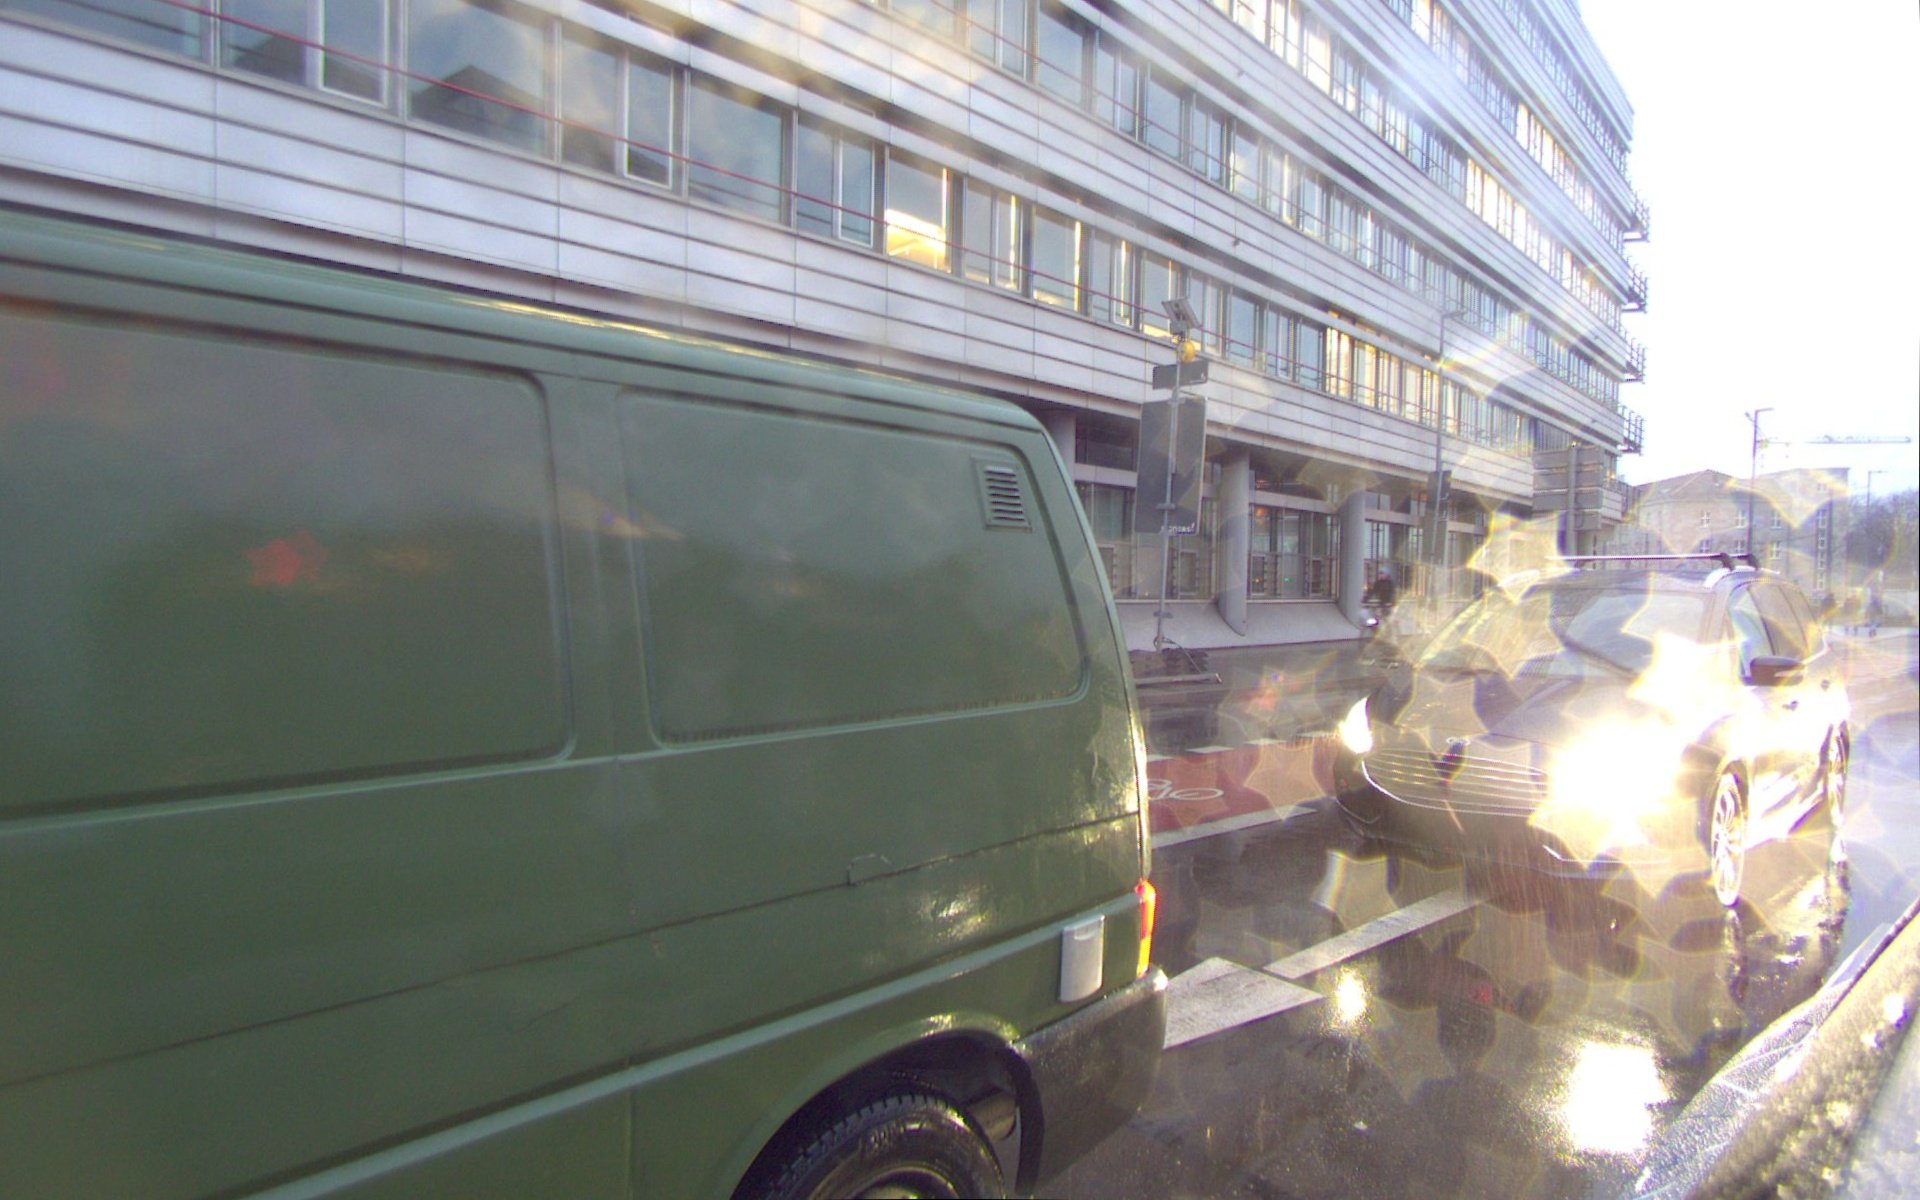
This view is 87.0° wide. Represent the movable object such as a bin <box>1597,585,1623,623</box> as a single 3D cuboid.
[{"bbox_3d":[25.495,0.162,39.722,0.826,1.446,0.665,0,1,-44],"label":"movable object such as a bin"}]

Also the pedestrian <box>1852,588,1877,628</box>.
[{"bbox_3d":[39.621,0.339,44.329,0.870,1.723,0.650,0,3,-44],"label":"pedestrian"}]

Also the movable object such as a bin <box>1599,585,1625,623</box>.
[{"bbox_3d":[26.070,0.160,40.456,0.826,1.495,0.665,0,1,-44],"label":"movable object such as a bin"}]

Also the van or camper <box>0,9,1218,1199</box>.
[{"bbox_3d":[-1.682,0.447,1.301,4.341,1.931,1.760,0,0,-41],"label":"van or camper"}]

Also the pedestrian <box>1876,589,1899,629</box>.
[{"bbox_3d":[40.203,0.376,43.870,0.870,1.689,0.615,0,3,-44],"label":"pedestrian"}]

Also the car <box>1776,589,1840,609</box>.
[{"bbox_3d":[72.885,-0.122,87.026,1.743,1.556,3.775,1,1,-24],"label":"car"}]

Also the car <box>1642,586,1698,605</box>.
[{"bbox_3d":[68.617,-0.462,97.835,1.958,1.693,4.013,0,1,-24],"label":"car"}]

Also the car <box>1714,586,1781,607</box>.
[{"bbox_3d":[71.071,-0.315,91.399,1.958,1.782,4.386,0,1,-24],"label":"car"}]

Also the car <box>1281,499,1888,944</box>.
[{"bbox_3d":[4.149,0.492,6.372,4.587,1.834,1.887,0,0,-39],"label":"car"}]

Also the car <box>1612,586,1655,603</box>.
[{"bbox_3d":[76.922,-0.688,115.570,1.757,1.829,3.741,1,1,-23],"label":"car"}]

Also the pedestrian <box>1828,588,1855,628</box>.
[{"bbox_3d":[39.441,0.338,45.287,0.953,1.722,0.746,0,4,-44],"label":"pedestrian"}]

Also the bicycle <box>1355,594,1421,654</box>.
[{"bbox_3d":[9.294,0.494,21.962,1.732,1.213,0.680,0,3,-45],"label":"bicycle"}]

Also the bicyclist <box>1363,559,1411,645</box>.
[{"bbox_3d":[9.256,0.032,21.925,0.793,1.820,0.670,0,2,-45],"label":"bicyclist"}]

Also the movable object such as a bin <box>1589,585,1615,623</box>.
[{"bbox_3d":[24.836,0.146,39.138,0.826,1.446,0.665,0,1,-44],"label":"movable object such as a bin"}]

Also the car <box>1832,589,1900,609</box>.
[{"bbox_3d":[74.295,-0.115,83.051,1.743,1.556,3.775,1,1,-24],"label":"car"}]

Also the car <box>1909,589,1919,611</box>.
[{"bbox_3d":[76.592,0.063,78.560,1.743,1.730,3.932,0,1,-26],"label":"car"}]
